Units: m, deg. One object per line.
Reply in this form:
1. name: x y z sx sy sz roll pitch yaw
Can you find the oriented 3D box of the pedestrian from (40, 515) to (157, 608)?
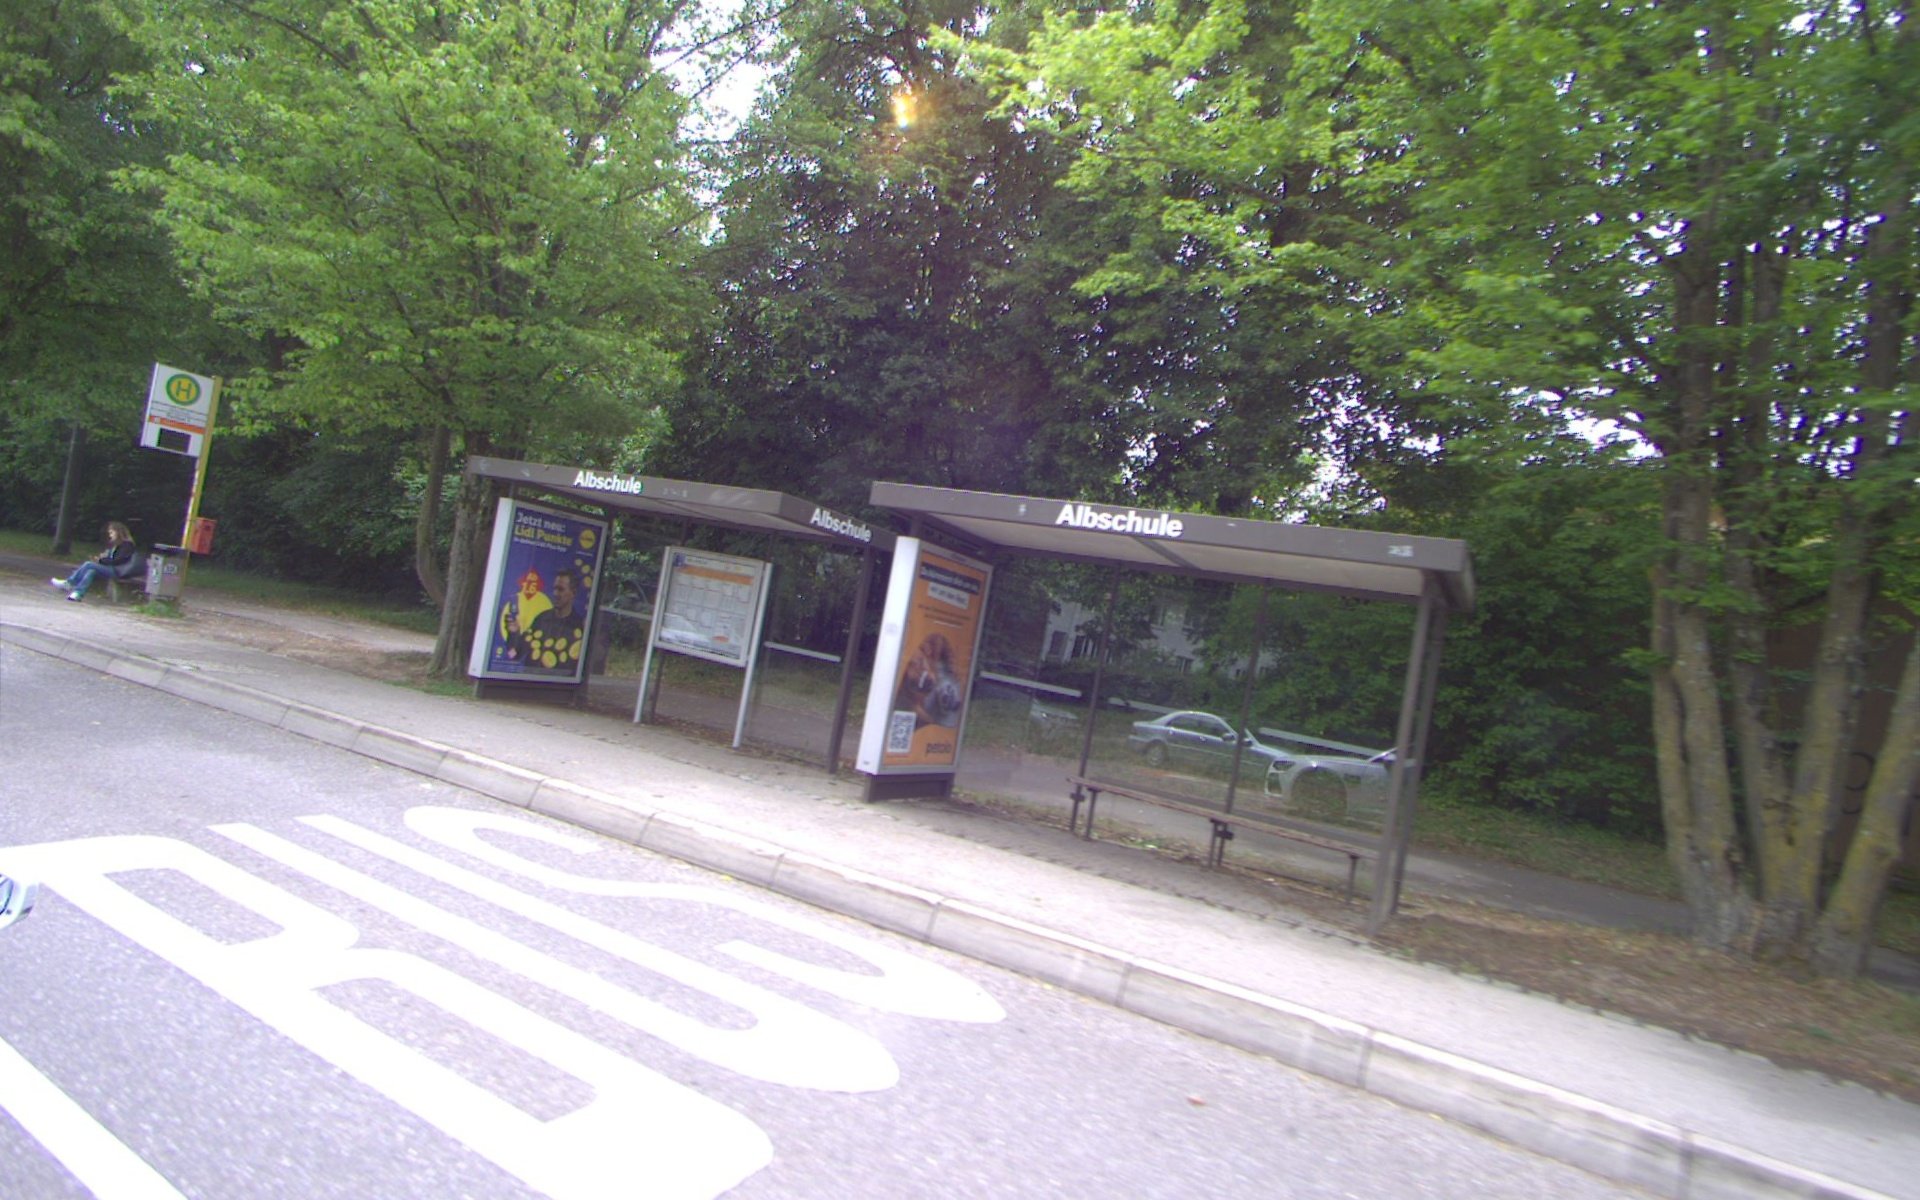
1. pedestrian: -12.694 -0.545 14.849 0.570 1.196 1.067 8 -1 25
